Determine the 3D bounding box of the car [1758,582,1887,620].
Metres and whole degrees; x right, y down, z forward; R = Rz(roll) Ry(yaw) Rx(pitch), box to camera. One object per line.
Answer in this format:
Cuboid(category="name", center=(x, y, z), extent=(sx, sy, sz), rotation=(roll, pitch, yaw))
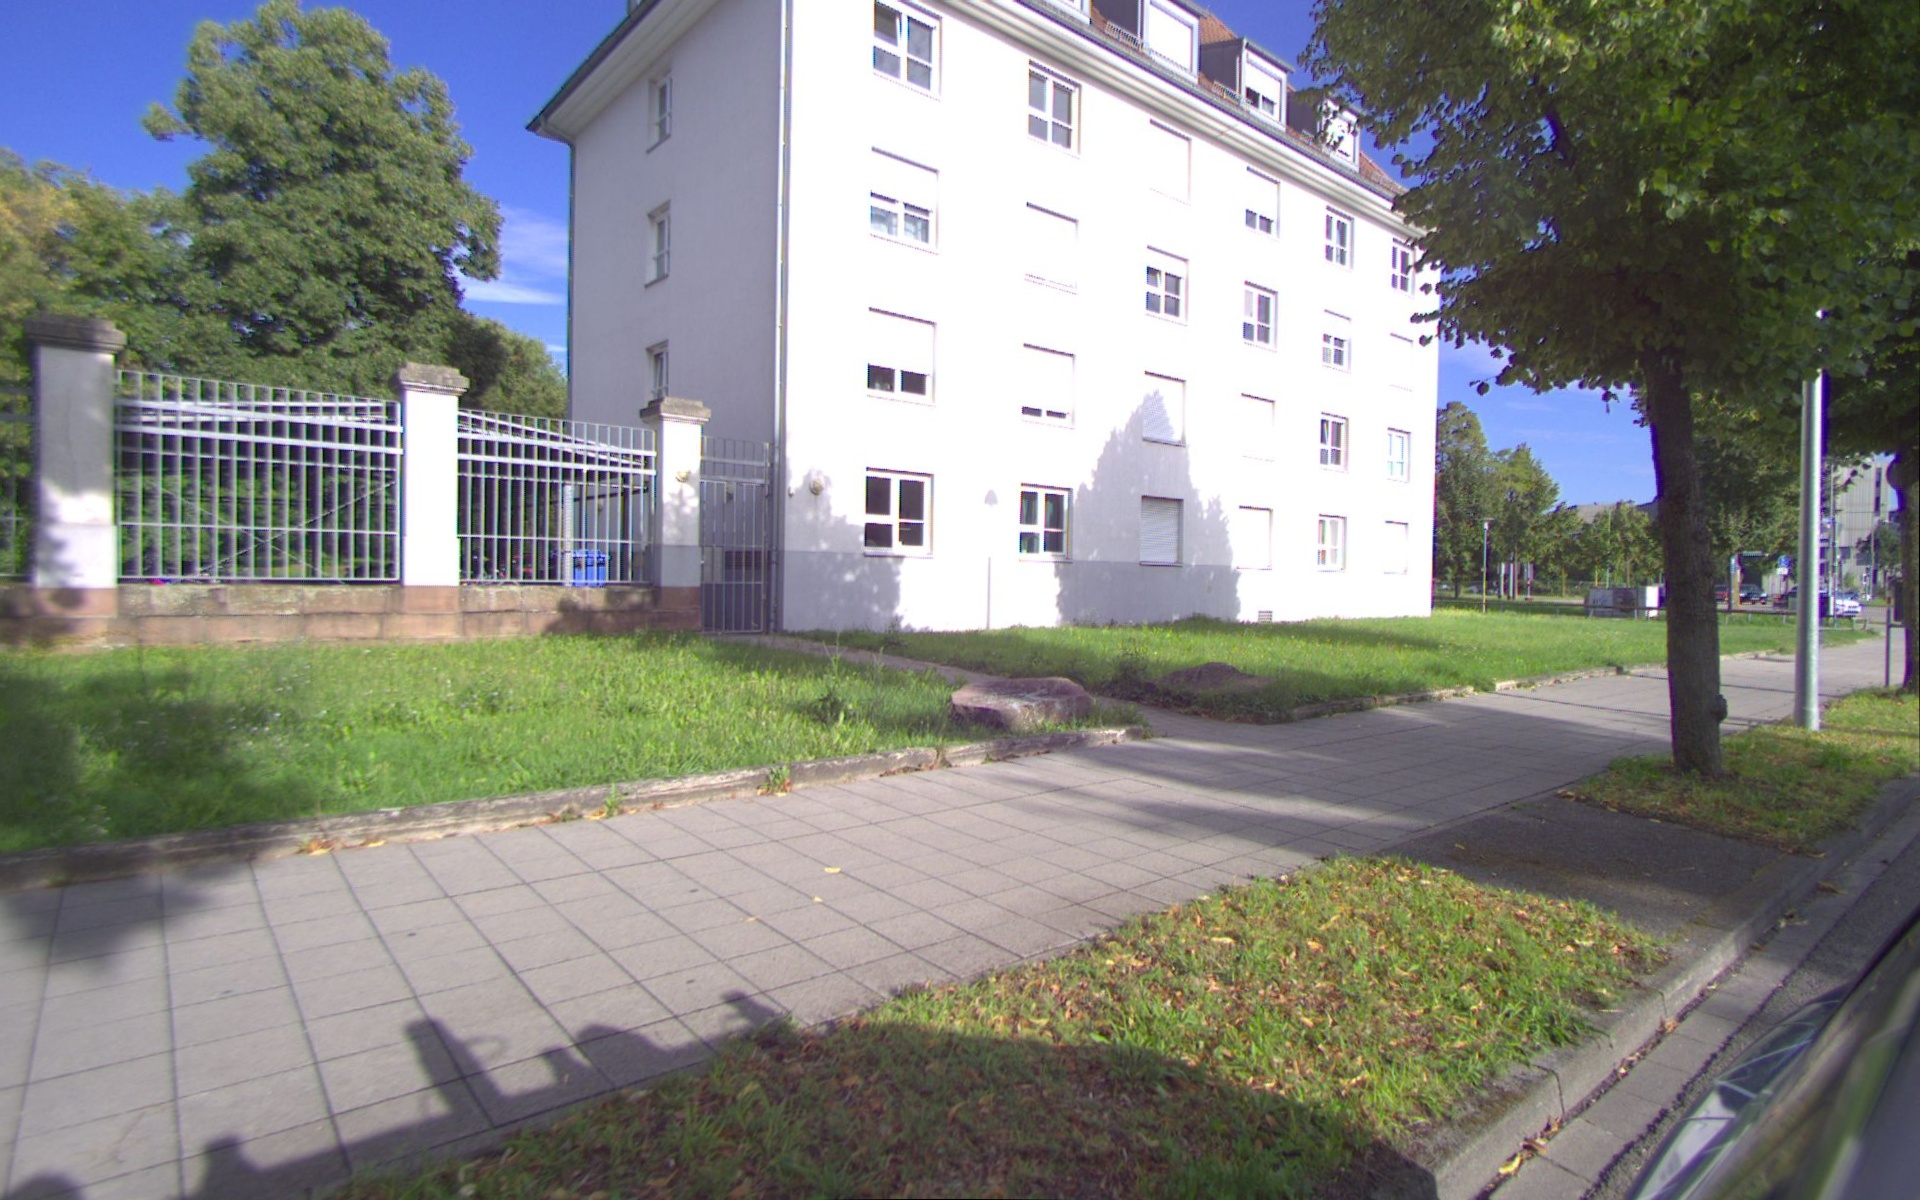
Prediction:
Cuboid(category="car", center=(46.713, 0.006, 54.985), extent=(1.801, 1.890, 5.414), rotation=(0, 1, -10))
